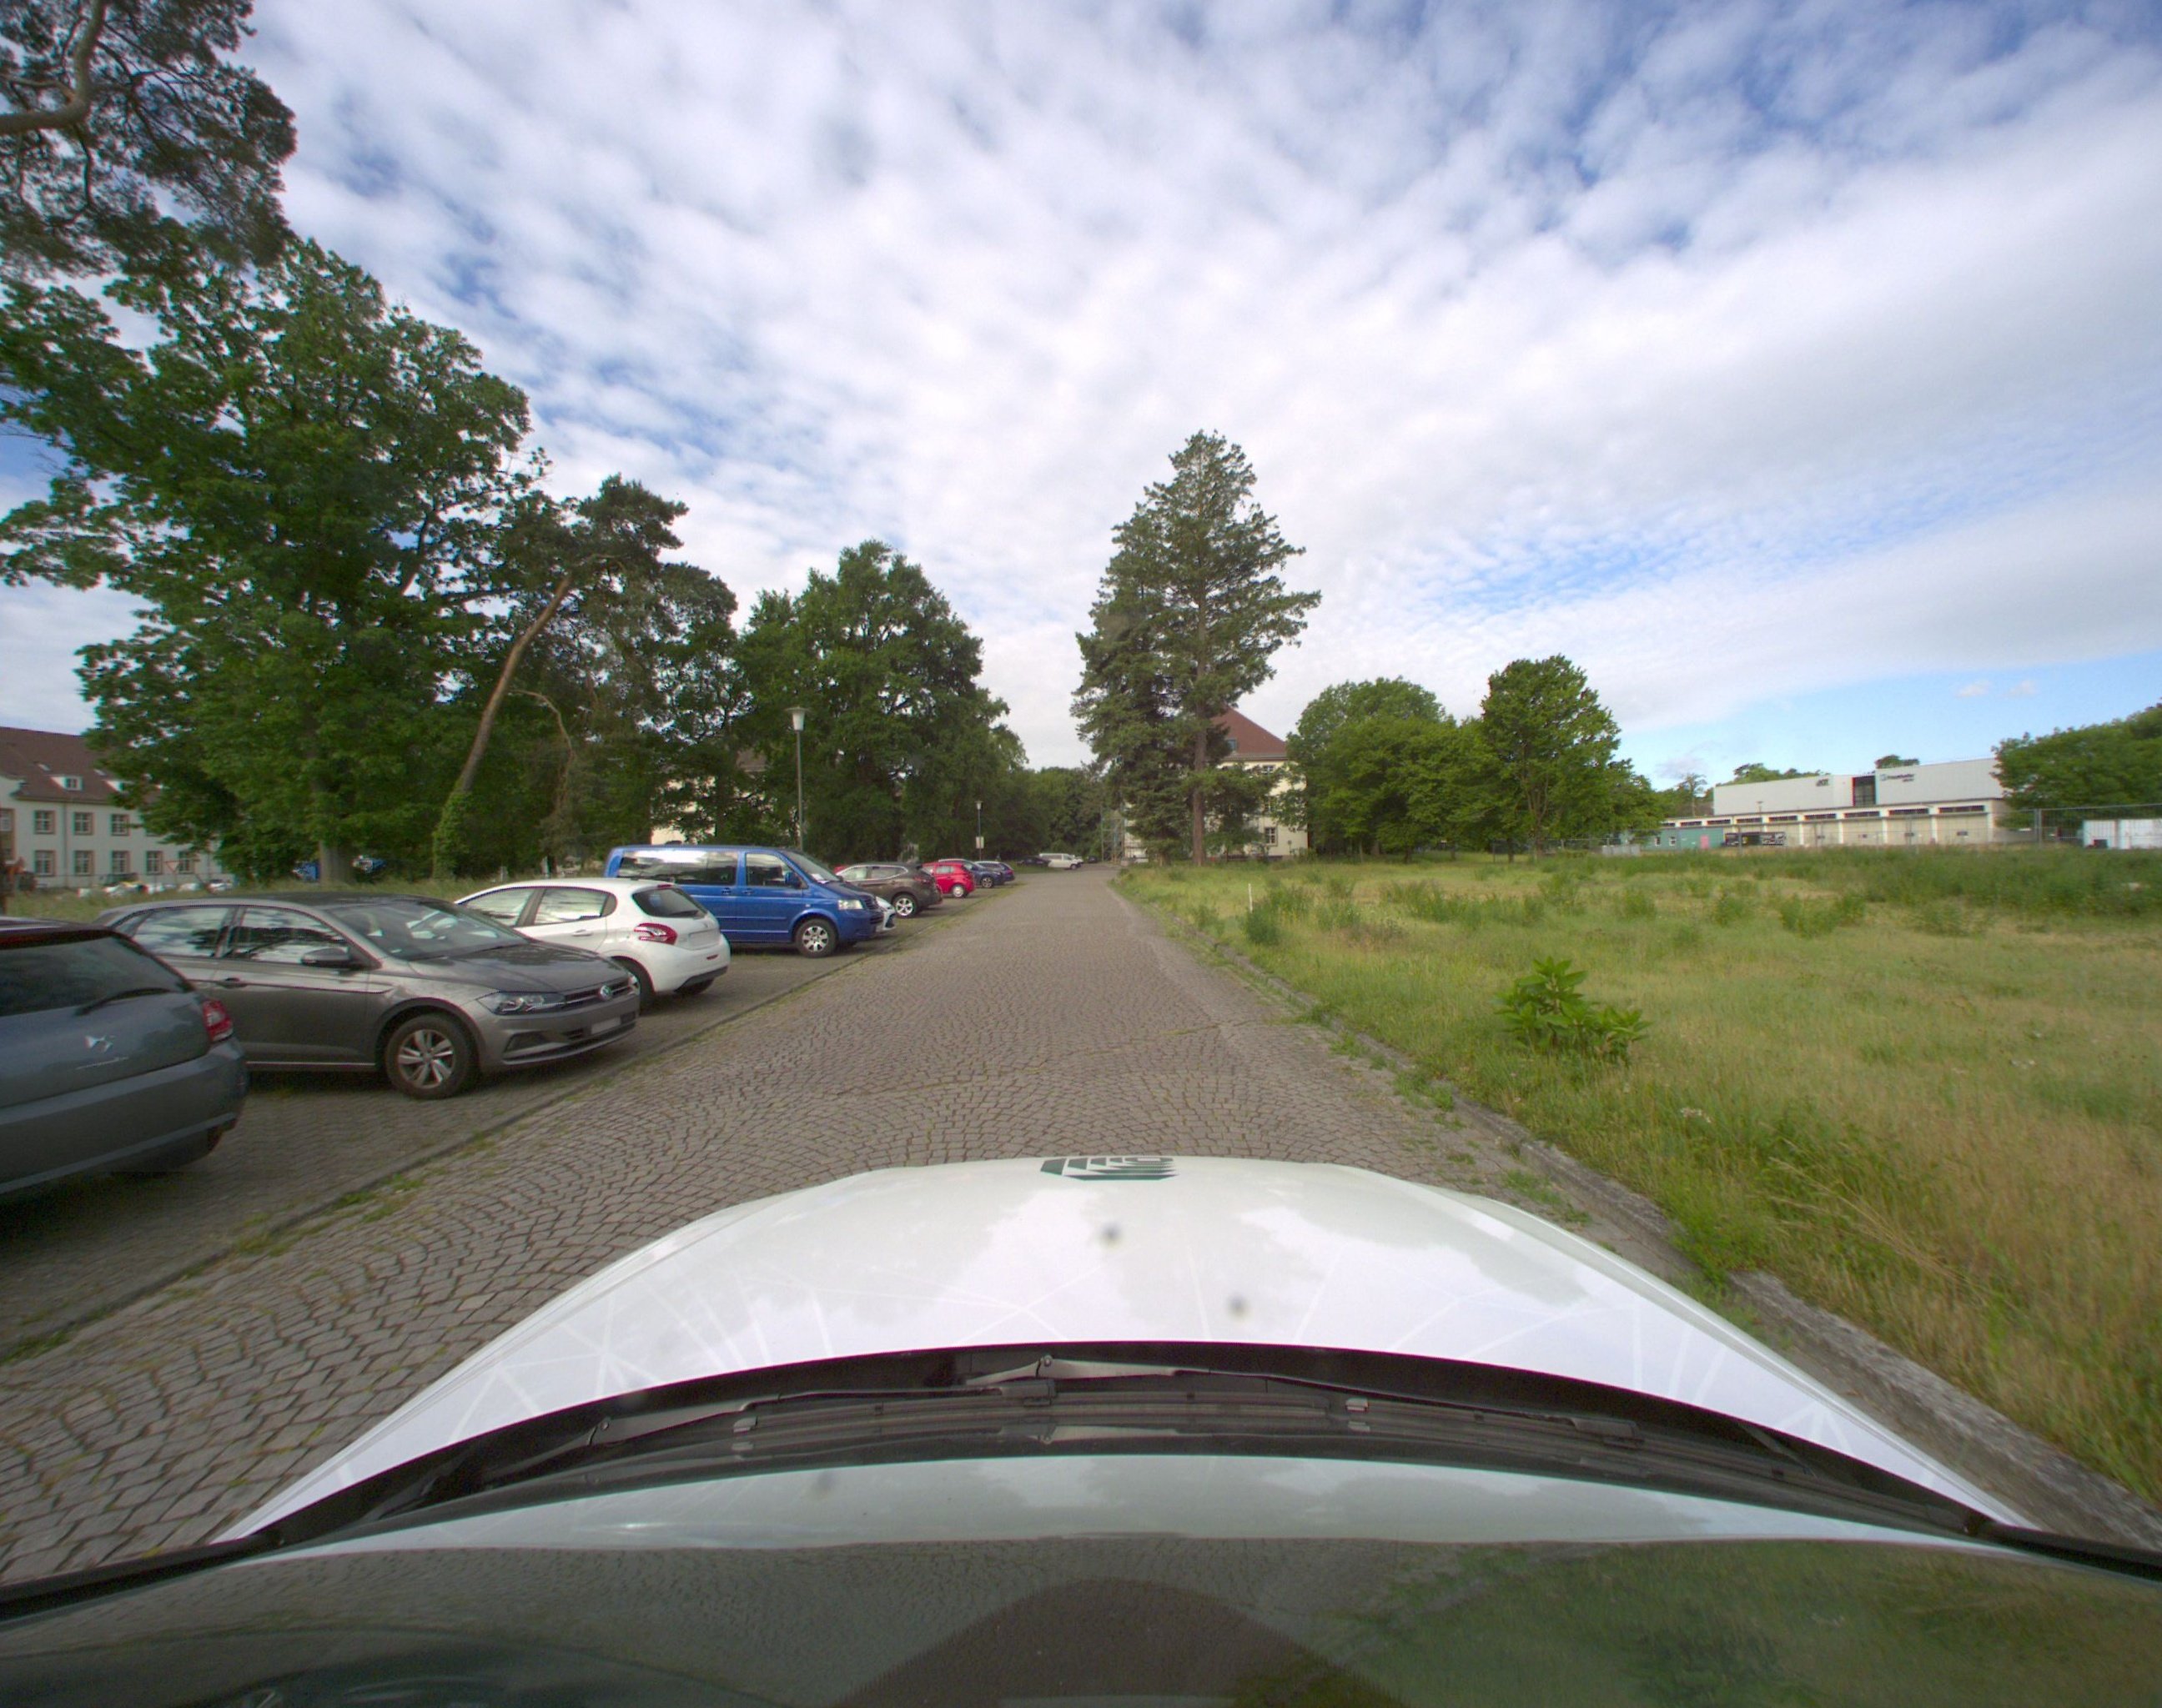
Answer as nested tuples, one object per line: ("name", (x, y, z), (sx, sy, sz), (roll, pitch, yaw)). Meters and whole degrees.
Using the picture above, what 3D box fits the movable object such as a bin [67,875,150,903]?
("movable object such as a bin", (-84.945, 3.033, 71.176), (4.487, 2.254, 2.382), (-2, -2, 4))

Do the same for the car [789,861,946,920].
("car", (-6.121, 1.020, 23.735), (4.057, 1.575, 1.953), (-1, 0, -2))

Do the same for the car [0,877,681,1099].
("car", (-5.887, 0.990, 6.706), (4.289, 1.480, 1.731), (-1, 0, 1))

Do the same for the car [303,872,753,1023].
("car", (-6.246, 1.014, 9.564), (3.991, 1.501, 1.843), (-1, 0, 1))

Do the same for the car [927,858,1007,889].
("car", (-6.153, 1.043, 44.296), (4.061, 1.604, 1.786), (-1, 0, -2))

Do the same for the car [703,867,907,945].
("car", (-5.793, 1.062, 17.452), (3.785, 1.493, 1.724), (-1, 0, -3))

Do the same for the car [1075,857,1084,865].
("car", (-0.296, 1.441, 164.093), (1.785, 1.636, 4.057), (-2, -2, -2))

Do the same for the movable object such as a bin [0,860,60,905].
("movable object such as a bin", (-90.789, 2.459, 69.597), (6.068, 3.642, 2.150), (-2, -2, 16))

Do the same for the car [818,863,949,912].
("car", (-6.344, 1.063, 26.517), (3.804, 1.486, 1.761), (-1, 0, -1))

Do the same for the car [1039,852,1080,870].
("car", (-2.575, 0.882, 98.025), (4.965, 2.073, 2.050), (0, -2, -2))

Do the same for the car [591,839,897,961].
("car", (-5.949, 0.773, 14.870), (4.696, 1.980, 2.037), (-1, 0, -2))

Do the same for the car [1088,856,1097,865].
("car", (2.316, 1.335, 164.463), (1.785, 1.720, 4.057), (-2, -2, -2))

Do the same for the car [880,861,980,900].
("car", (-6.258, 1.074, 34.045), (3.805, 1.489, 1.786), (-1, 0, -2))

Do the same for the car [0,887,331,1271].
("car", (-6.380, 0.965, 3.814), (4.074, 1.480, 1.755), (-1, 0, 0))

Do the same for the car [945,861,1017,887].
("car", (-5.976, 1.167, 48.994), (4.054, 1.467, 1.627), (-1, 0, 3))
